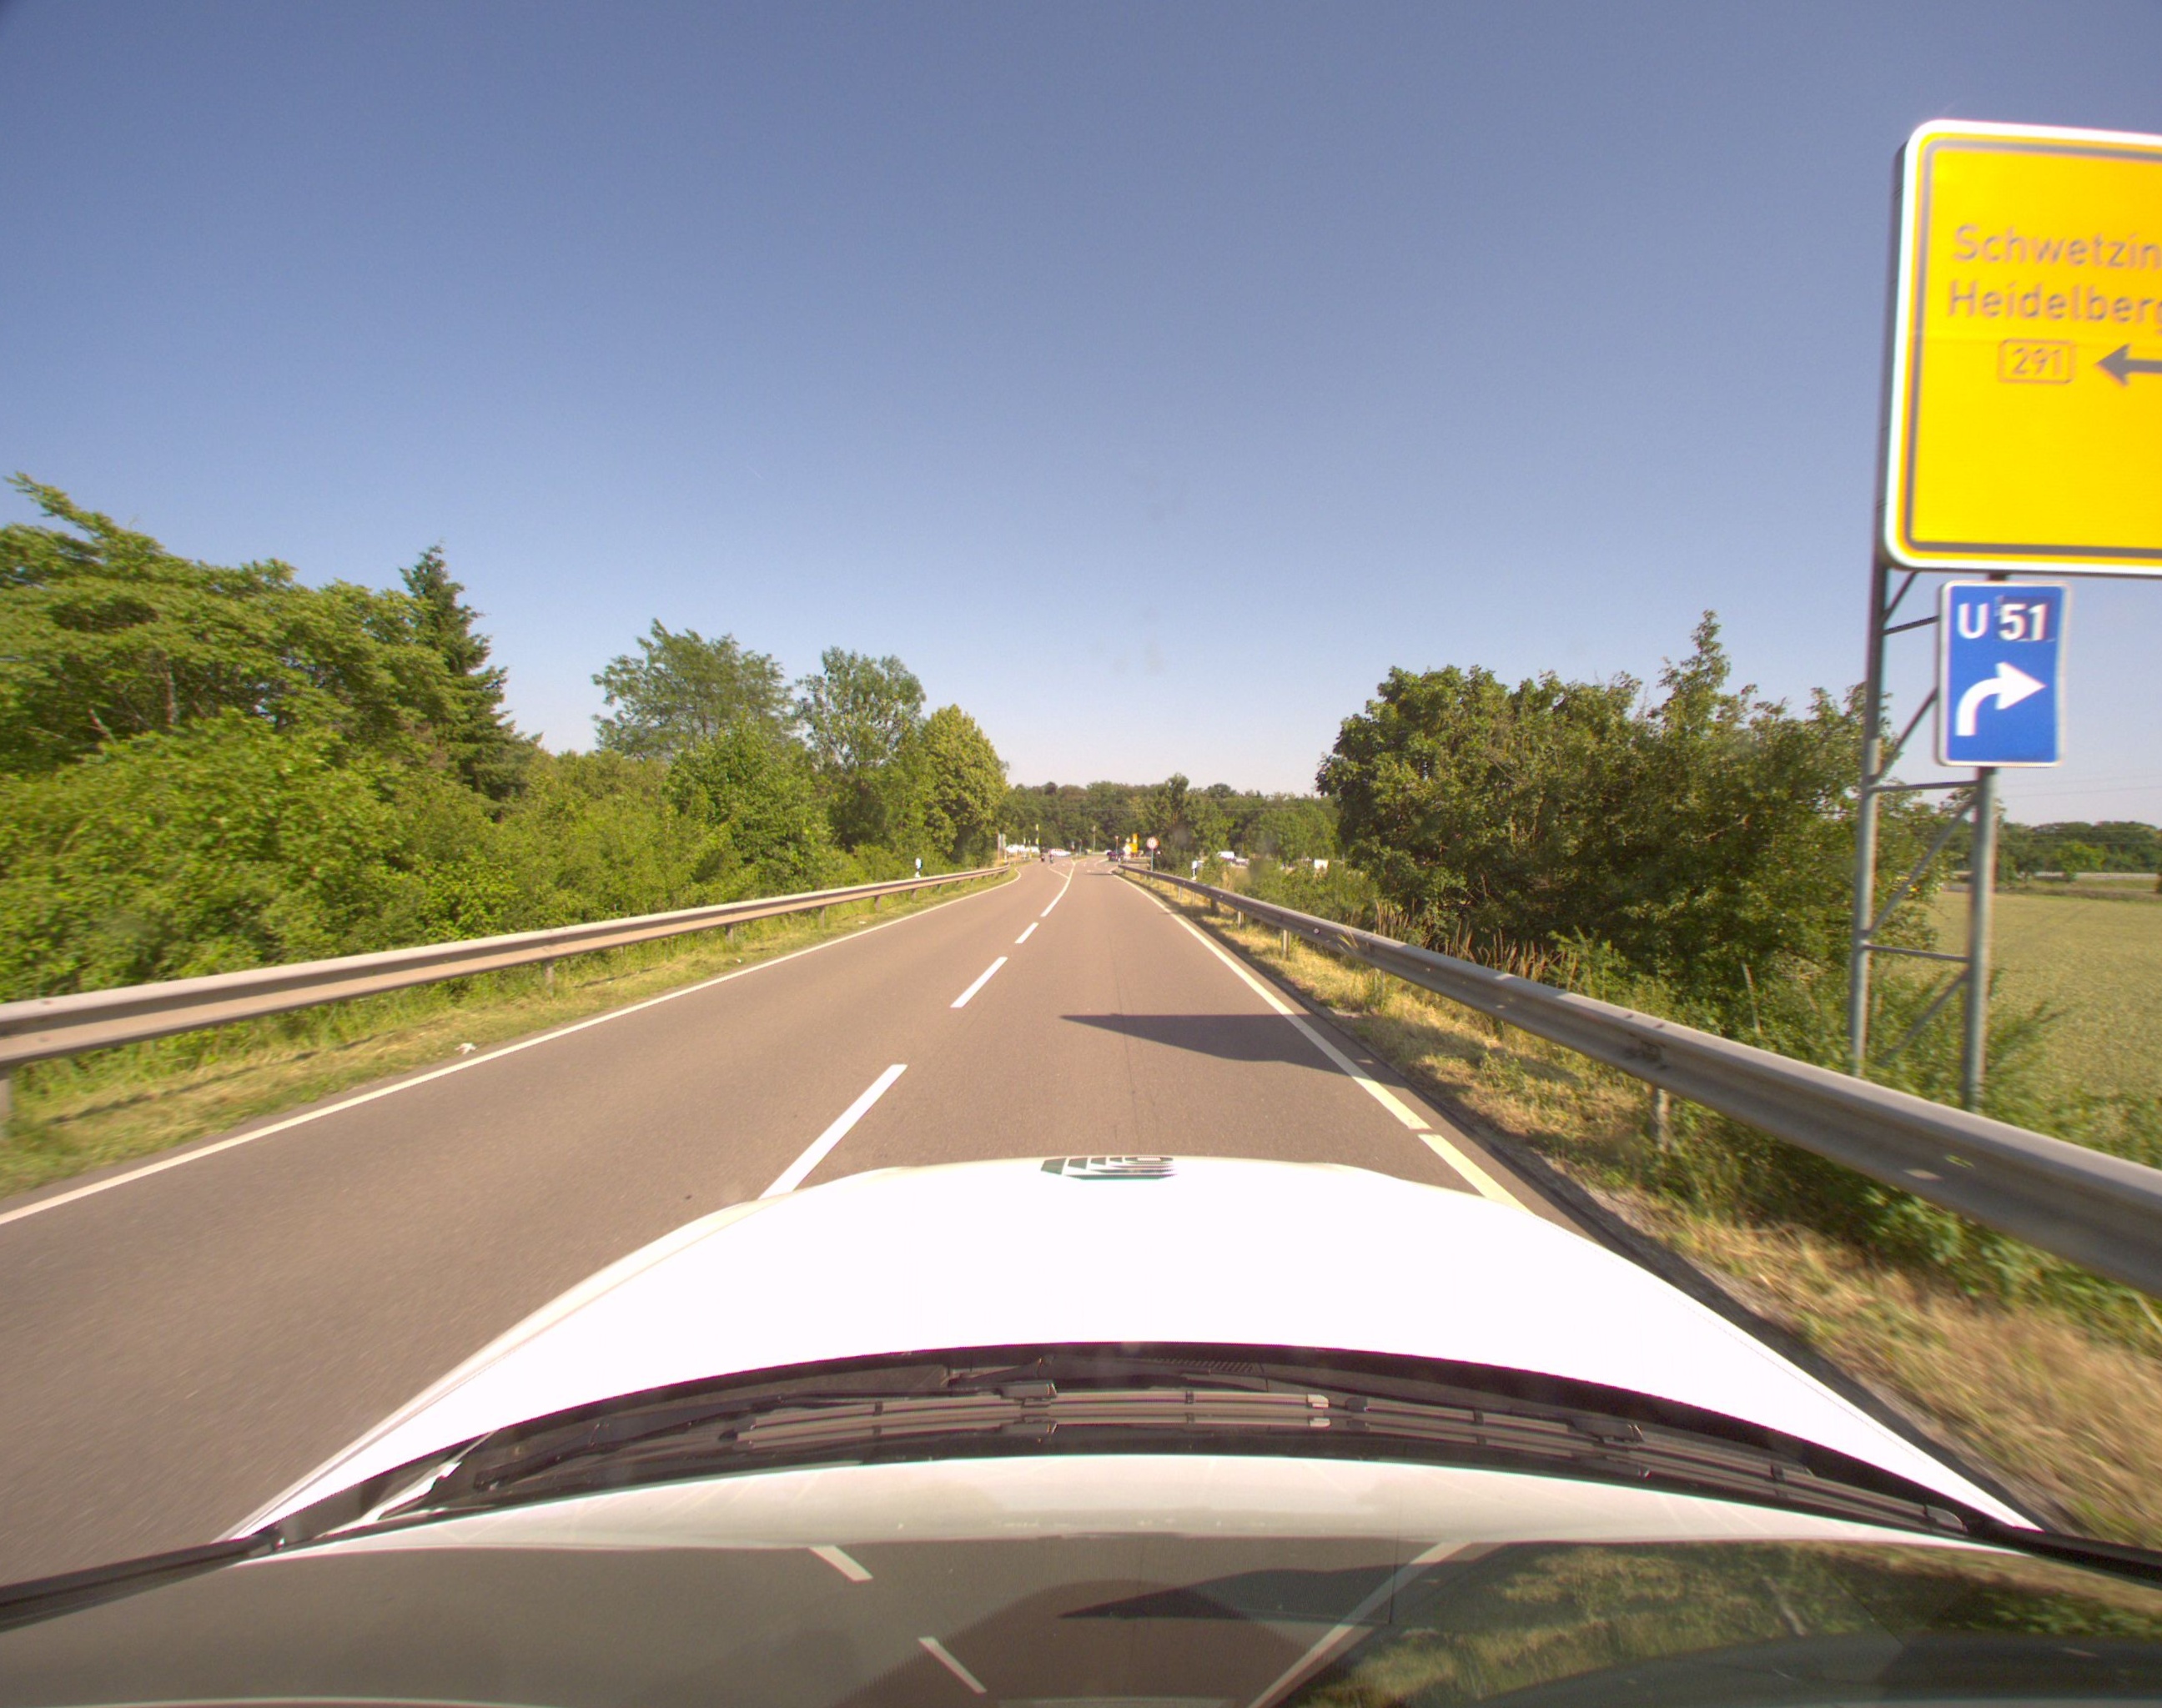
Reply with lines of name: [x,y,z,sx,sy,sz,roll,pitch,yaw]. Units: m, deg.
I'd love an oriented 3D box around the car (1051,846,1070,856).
car: [-4.385,-0.649,174.419,3.979,2.013,1.798,1,1,-4]

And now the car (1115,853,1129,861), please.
car: [8.191,0.528,161.173,1.785,1.501,4.018,2,0,18]

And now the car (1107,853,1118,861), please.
car: [6.010,0.539,153.741,1.790,1.398,4.007,-4,0,6]

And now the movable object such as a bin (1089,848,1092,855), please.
movable object such as a bin: [2.262,-0.571,192.307,0.598,1.488,0.734,-1,0,8]

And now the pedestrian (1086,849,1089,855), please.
pedestrian: [1.535,-0.559,191.685,0.518,1.390,0.517,-1,0,27]

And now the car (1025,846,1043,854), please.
car: [-11.418,-1.015,198.061,4.002,2.013,1.783,-1,0,-21]

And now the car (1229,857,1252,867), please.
car: [32.269,1.621,164.637,3.950,1.876,1.903,4,1,40]

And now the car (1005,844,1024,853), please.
car: [-14.858,-1.139,182.990,3.991,2.013,1.991,-1,0,-13]
